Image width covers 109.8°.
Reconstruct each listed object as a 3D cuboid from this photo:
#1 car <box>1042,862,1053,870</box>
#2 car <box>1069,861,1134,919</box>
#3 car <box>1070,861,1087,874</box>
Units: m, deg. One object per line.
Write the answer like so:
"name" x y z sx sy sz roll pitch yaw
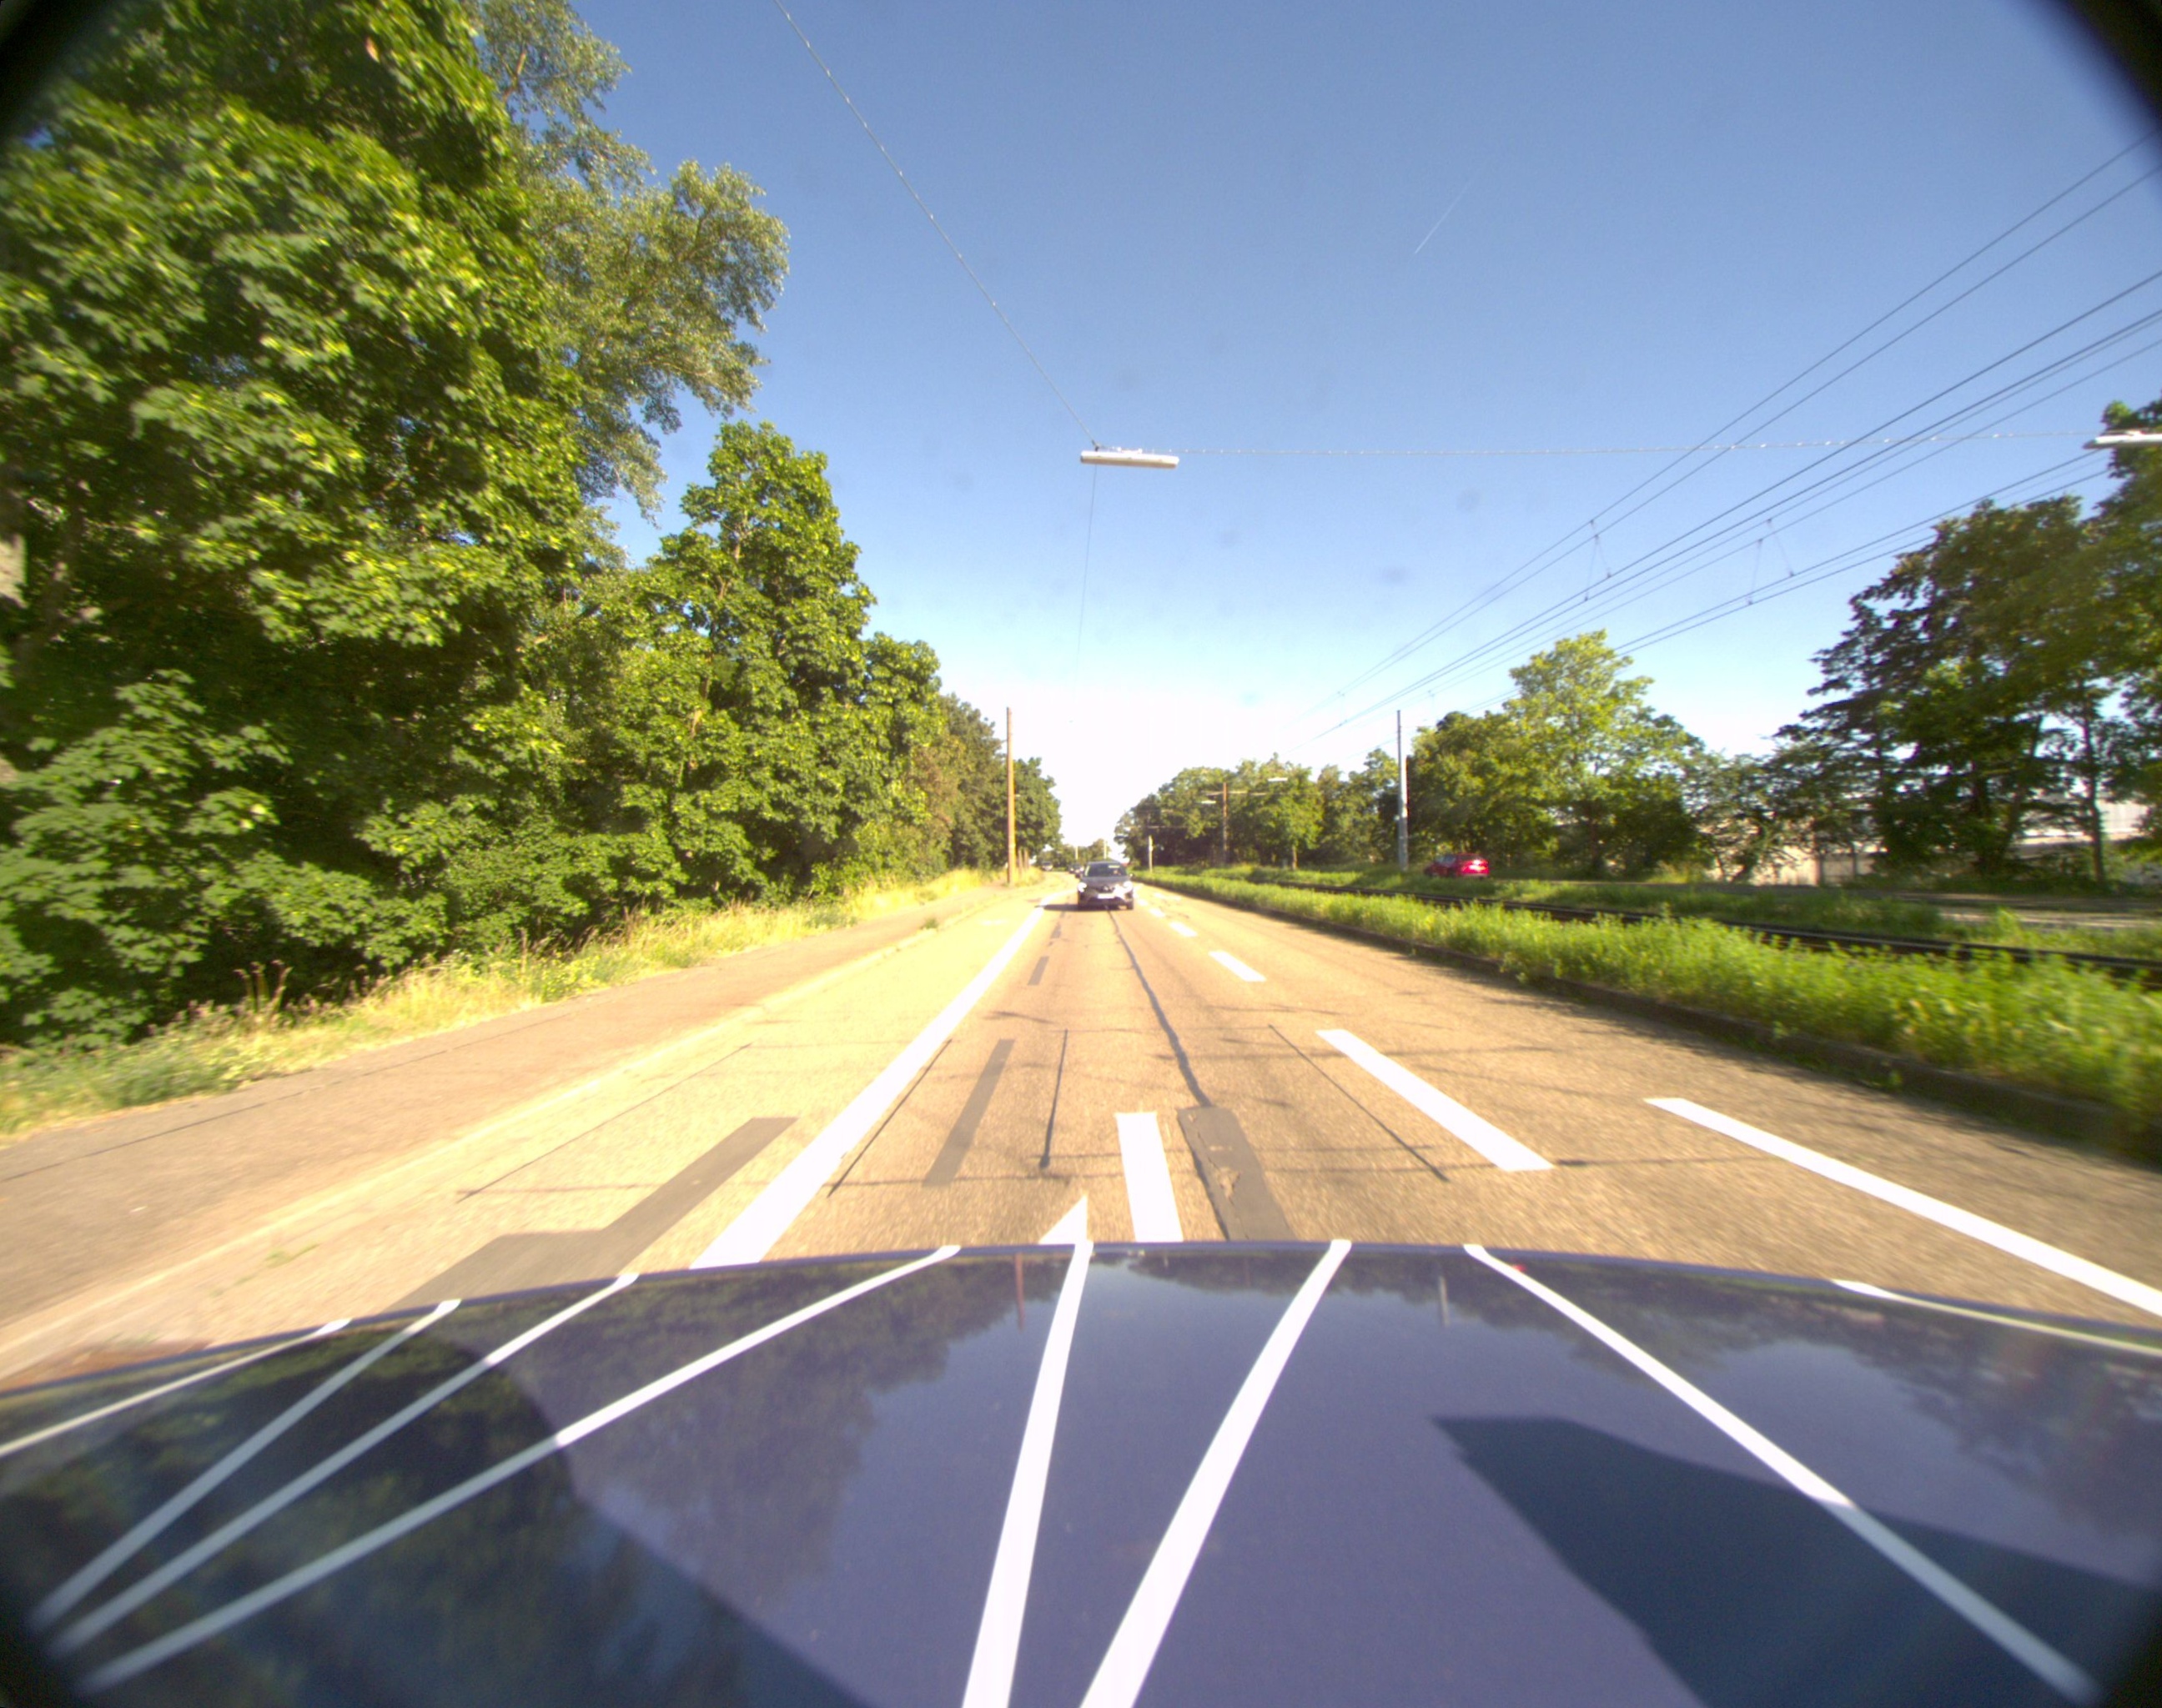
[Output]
"car" -7.274 2.545 163.919 2.000 1.577 3.998 -2 0 -6
"car" 0.671 1.073 24.189 1.821 1.589 4.414 -2 0 2
"car" -0.313 1.833 102.047 1.999 1.577 3.999 -2 0 -3
